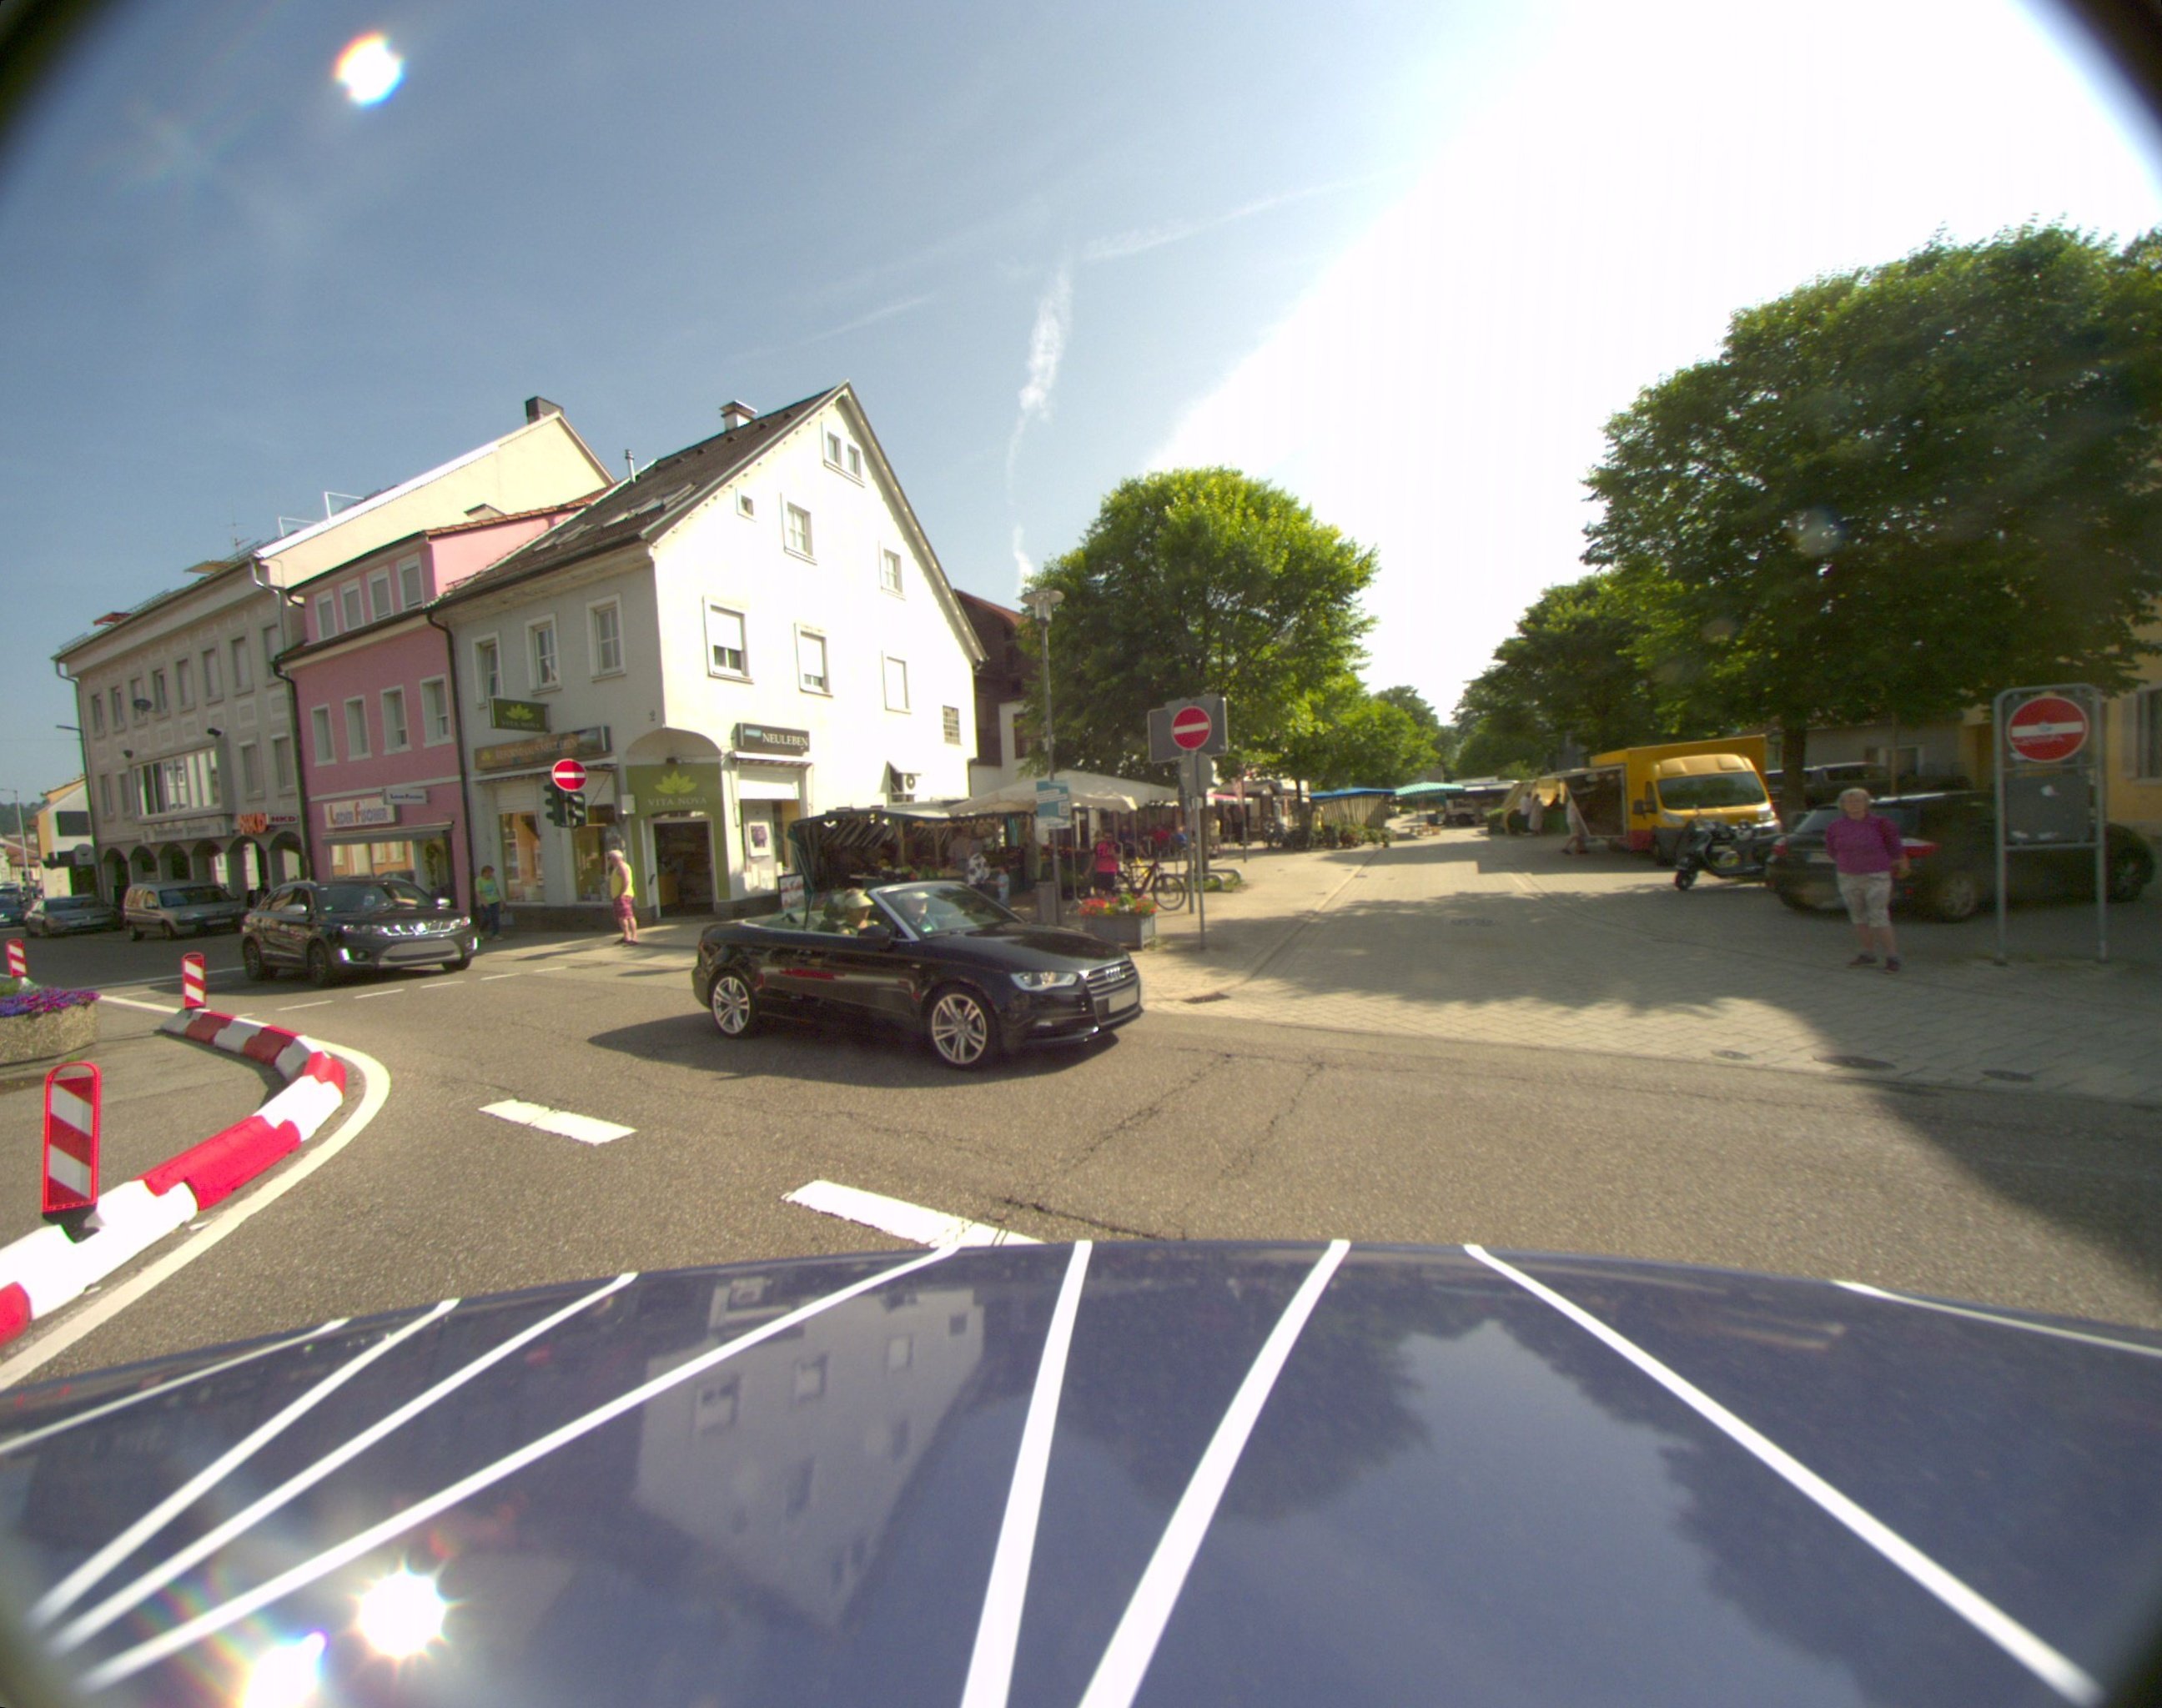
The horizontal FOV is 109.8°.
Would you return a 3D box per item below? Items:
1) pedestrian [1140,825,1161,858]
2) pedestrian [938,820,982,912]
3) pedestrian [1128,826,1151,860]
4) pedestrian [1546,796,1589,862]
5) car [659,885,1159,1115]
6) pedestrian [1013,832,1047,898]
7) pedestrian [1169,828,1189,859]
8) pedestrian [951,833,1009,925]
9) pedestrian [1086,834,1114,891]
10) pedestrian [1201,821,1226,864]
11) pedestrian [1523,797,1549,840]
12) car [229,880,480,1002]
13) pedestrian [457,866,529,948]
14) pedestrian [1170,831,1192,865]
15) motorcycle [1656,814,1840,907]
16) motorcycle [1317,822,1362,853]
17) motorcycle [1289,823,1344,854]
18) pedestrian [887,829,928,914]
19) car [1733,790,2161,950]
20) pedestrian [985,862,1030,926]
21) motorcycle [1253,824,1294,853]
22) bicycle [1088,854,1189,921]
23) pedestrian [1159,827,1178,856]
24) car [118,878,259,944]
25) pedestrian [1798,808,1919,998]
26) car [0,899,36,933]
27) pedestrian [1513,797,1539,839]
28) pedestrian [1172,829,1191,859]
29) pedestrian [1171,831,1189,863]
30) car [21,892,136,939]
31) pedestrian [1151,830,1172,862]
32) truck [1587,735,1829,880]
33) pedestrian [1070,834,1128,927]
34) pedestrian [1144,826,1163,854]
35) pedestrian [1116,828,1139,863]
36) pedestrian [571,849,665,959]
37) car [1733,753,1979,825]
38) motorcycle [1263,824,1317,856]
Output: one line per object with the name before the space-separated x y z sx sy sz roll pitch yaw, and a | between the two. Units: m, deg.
pedestrian | 2.912 -0.516 31.764 0.625 1.324 0.700 2 5 32
pedestrian | -2.675 0.251 16.829 0.706 1.974 0.653 -2 2 8
pedestrian | 2.377 -0.458 30.856 0.625 1.324 0.700 2 5 32
pedestrian | 13.699 -0.709 21.406 0.681 1.777 0.726 -5 3 7
car | -1.623 1.035 6.687 4.189 1.349 1.759 -2 1 32
pedestrian | -1.304 0.274 19.386 0.521 1.618 0.708 -1 3 24
pedestrian | 3.910 -0.443 30.359 0.570 1.195 0.651 1 5 29
pedestrian | -1.973 0.468 14.809 0.789 1.714 0.705 -4 3 -37
pedestrian | 0.513 0.216 20.621 0.622 1.510 0.632 -3 2 -7
pedestrian | 4.914 -0.446 28.146 0.697 1.545 0.573 2 5 34
pedestrian | 18.342 -1.447 30.618 0.680 1.673 0.583 -4 3 12
car | -11.649 1.293 12.152 3.961 1.552 1.686 -2 2 29
pedestrian | -12.665 1.126 16.381 0.857 1.624 0.789 -2 5 30
pedestrian | 3.664 -0.225 27.829 0.698 1.195 0.572 0 5 15
motorcycle | 10.955 0.113 12.600 2.083 1.353 0.889 -4 2 27
motorcycle | 10.587 -0.678 31.169 0.644 1.189 2.001 -2 4 -20
motorcycle | 9.509 -0.640 30.746 1.999 1.189 0.644 3 5 42
pedestrian | -4.118 0.402 18.027 0.708 1.960 0.507 -4 3 -35
car | 11.065 0.118 9.825 3.959 1.535 1.921 -5 3 -10
pedestrian | -1.403 0.749 14.482 0.623 1.154 0.515 -4 3 -36
motorcycle | 8.123 -0.665 32.071 1.528 1.189 0.644 1 4 28
bicycle | 1.152 0.672 15.146 1.859 1.228 0.618 -2 3 15
pedestrian | 3.745 -0.548 32.478 0.570 1.195 0.651 1 5 29
car | -27.831 1.755 23.696 4.136 1.730 1.714 -2 4 26
pedestrian | 7.491 0.437 7.328 0.618 1.705 0.678 -5 3 -31
car | -54.333 3.136 38.036 3.961 1.552 1.773 -2 2 29
pedestrian | 18.287 -1.482 31.253 0.680 1.672 0.583 -4 1 12
pedestrian | 4.119 -0.408 31.140 0.570 1.195 0.651 1 5 29
pedestrian | 3.742 -0.265 28.737 0.571 1.195 0.651 0 5 18
car | -37.632 2.299 28.513 4.444 1.462 1.811 -2 3 28
pedestrian | 3.143 -0.324 29.719 0.570 1.195 0.651 1 5 29
truck | 15.241 -1.209 19.342 3.003 2.743 8.872 -2 3 28
pedestrian | 0.337 0.463 14.156 0.881 1.650 0.573 2 6 38
pedestrian | 3.110 -0.603 32.581 0.570 1.195 0.651 1 5 29
pedestrian | 1.856 -0.345 30.096 0.625 1.324 0.700 2 5 32
pedestrian | -8.545 0.891 14.097 1.021 1.807 0.905 -7 7 -12
car | 24.205 -1.966 24.043 5.060 1.881 2.003 -2 2 24
motorcycle | 8.430 -0.585 30.712 1.999 1.189 0.644 3 6 42
